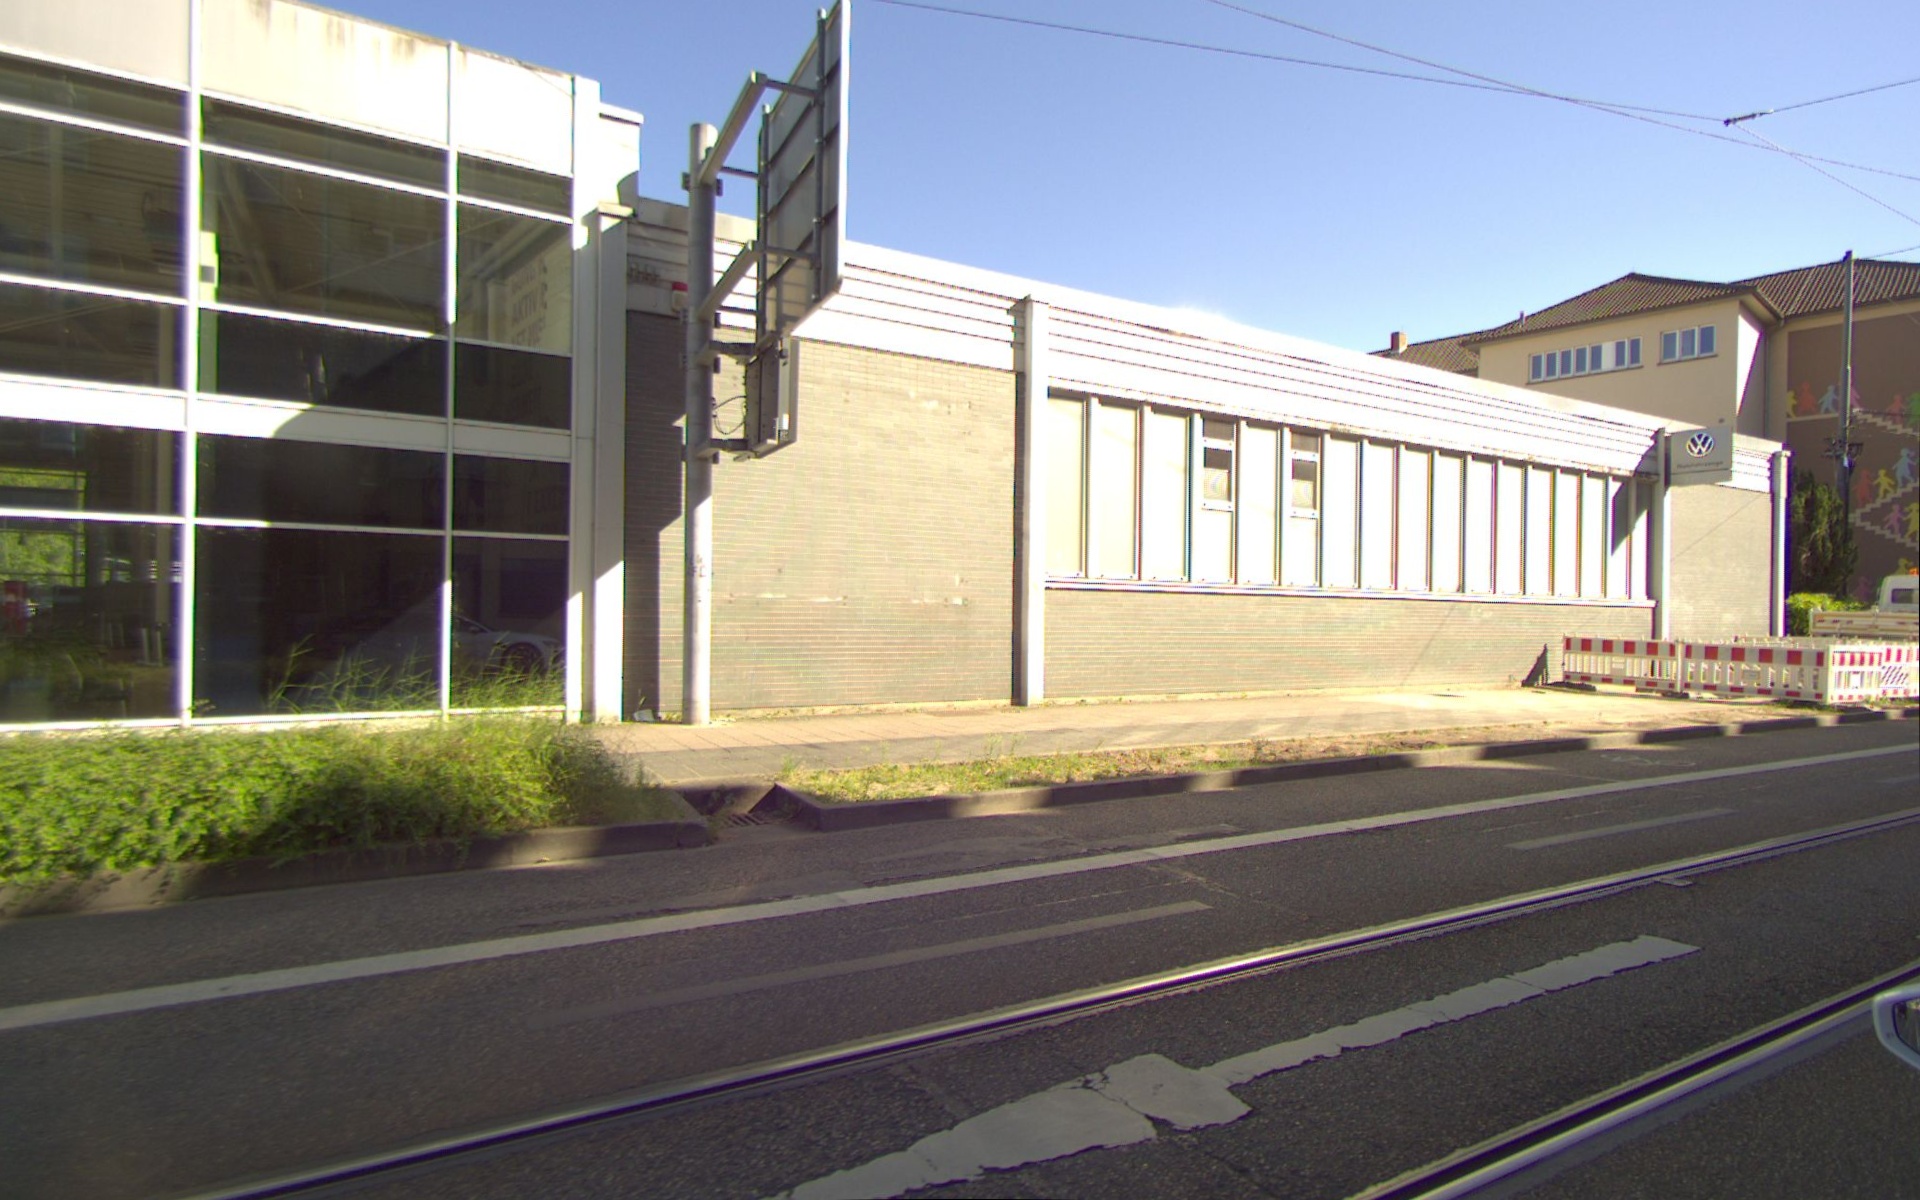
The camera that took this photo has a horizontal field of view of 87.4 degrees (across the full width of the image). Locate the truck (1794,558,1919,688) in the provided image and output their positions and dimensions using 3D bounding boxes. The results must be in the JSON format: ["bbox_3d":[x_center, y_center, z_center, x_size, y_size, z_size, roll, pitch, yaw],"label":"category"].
[{"bbox_3d":[23.315,0.552,24.715,6.309,2.868,2.522,2,1,-34],"label":"truck"}]
